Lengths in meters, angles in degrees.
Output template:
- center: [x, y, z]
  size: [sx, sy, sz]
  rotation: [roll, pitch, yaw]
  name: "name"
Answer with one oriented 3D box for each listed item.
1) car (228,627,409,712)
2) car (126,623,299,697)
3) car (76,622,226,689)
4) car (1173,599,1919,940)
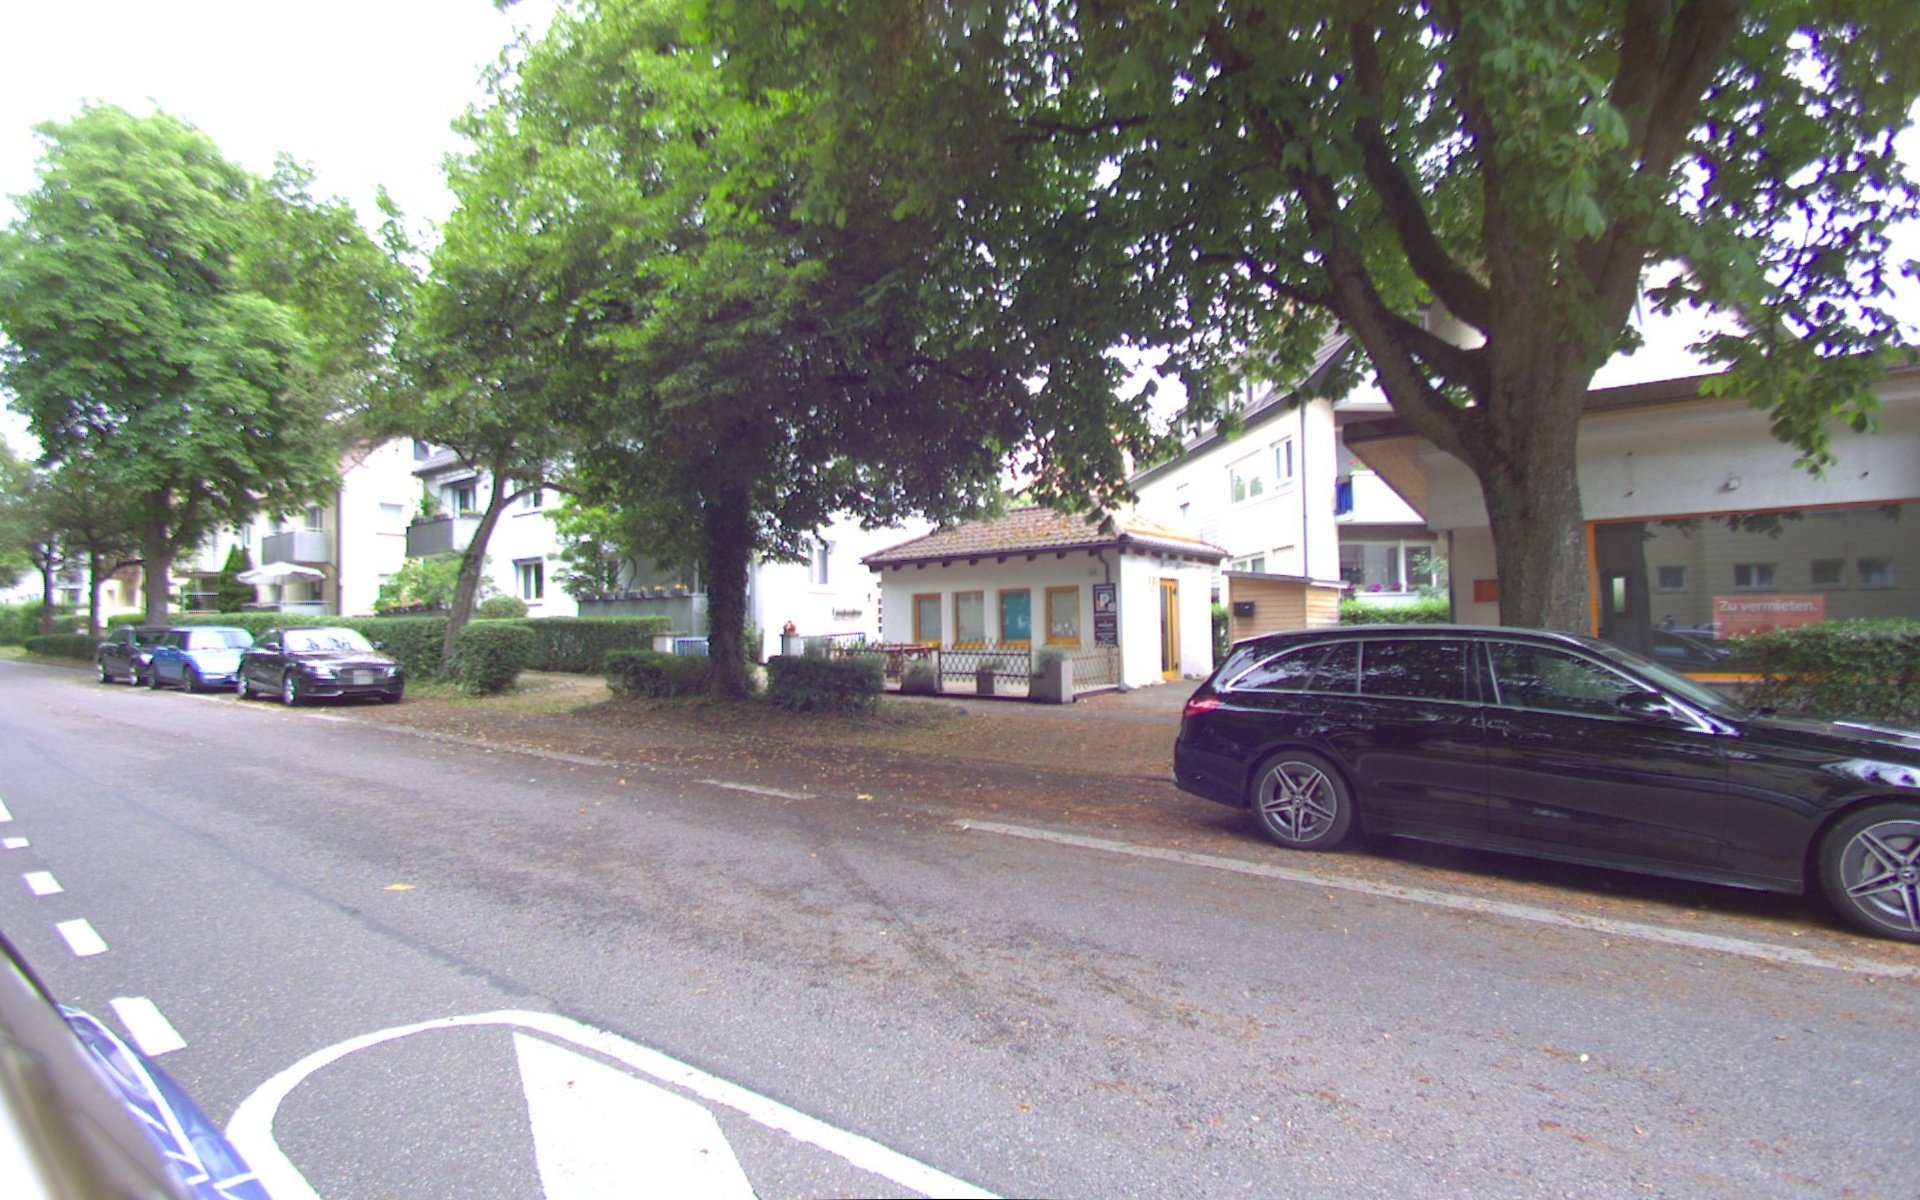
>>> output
- center: [-12.052, 1.234, 18.914]
  size: [4.169, 1.414, 1.713]
  rotation: [-2, -3, 41]
  name: "car"
- center: [-16.780, 1.293, 22.637]
  size: [4.558, 1.512, 1.866]
  rotation: [-2, -3, 37]
  name: "car"
- center: [-20.495, 1.371, 25.595]
  size: [4.558, 1.545, 1.866]
  rotation: [-2, -3, 37]
  name: "car"
- center: [3.843, 0.812, 6.168]
  size: [4.611, 1.511, 1.973]
  rotation: [-2, -3, 40]
  name: "car"
